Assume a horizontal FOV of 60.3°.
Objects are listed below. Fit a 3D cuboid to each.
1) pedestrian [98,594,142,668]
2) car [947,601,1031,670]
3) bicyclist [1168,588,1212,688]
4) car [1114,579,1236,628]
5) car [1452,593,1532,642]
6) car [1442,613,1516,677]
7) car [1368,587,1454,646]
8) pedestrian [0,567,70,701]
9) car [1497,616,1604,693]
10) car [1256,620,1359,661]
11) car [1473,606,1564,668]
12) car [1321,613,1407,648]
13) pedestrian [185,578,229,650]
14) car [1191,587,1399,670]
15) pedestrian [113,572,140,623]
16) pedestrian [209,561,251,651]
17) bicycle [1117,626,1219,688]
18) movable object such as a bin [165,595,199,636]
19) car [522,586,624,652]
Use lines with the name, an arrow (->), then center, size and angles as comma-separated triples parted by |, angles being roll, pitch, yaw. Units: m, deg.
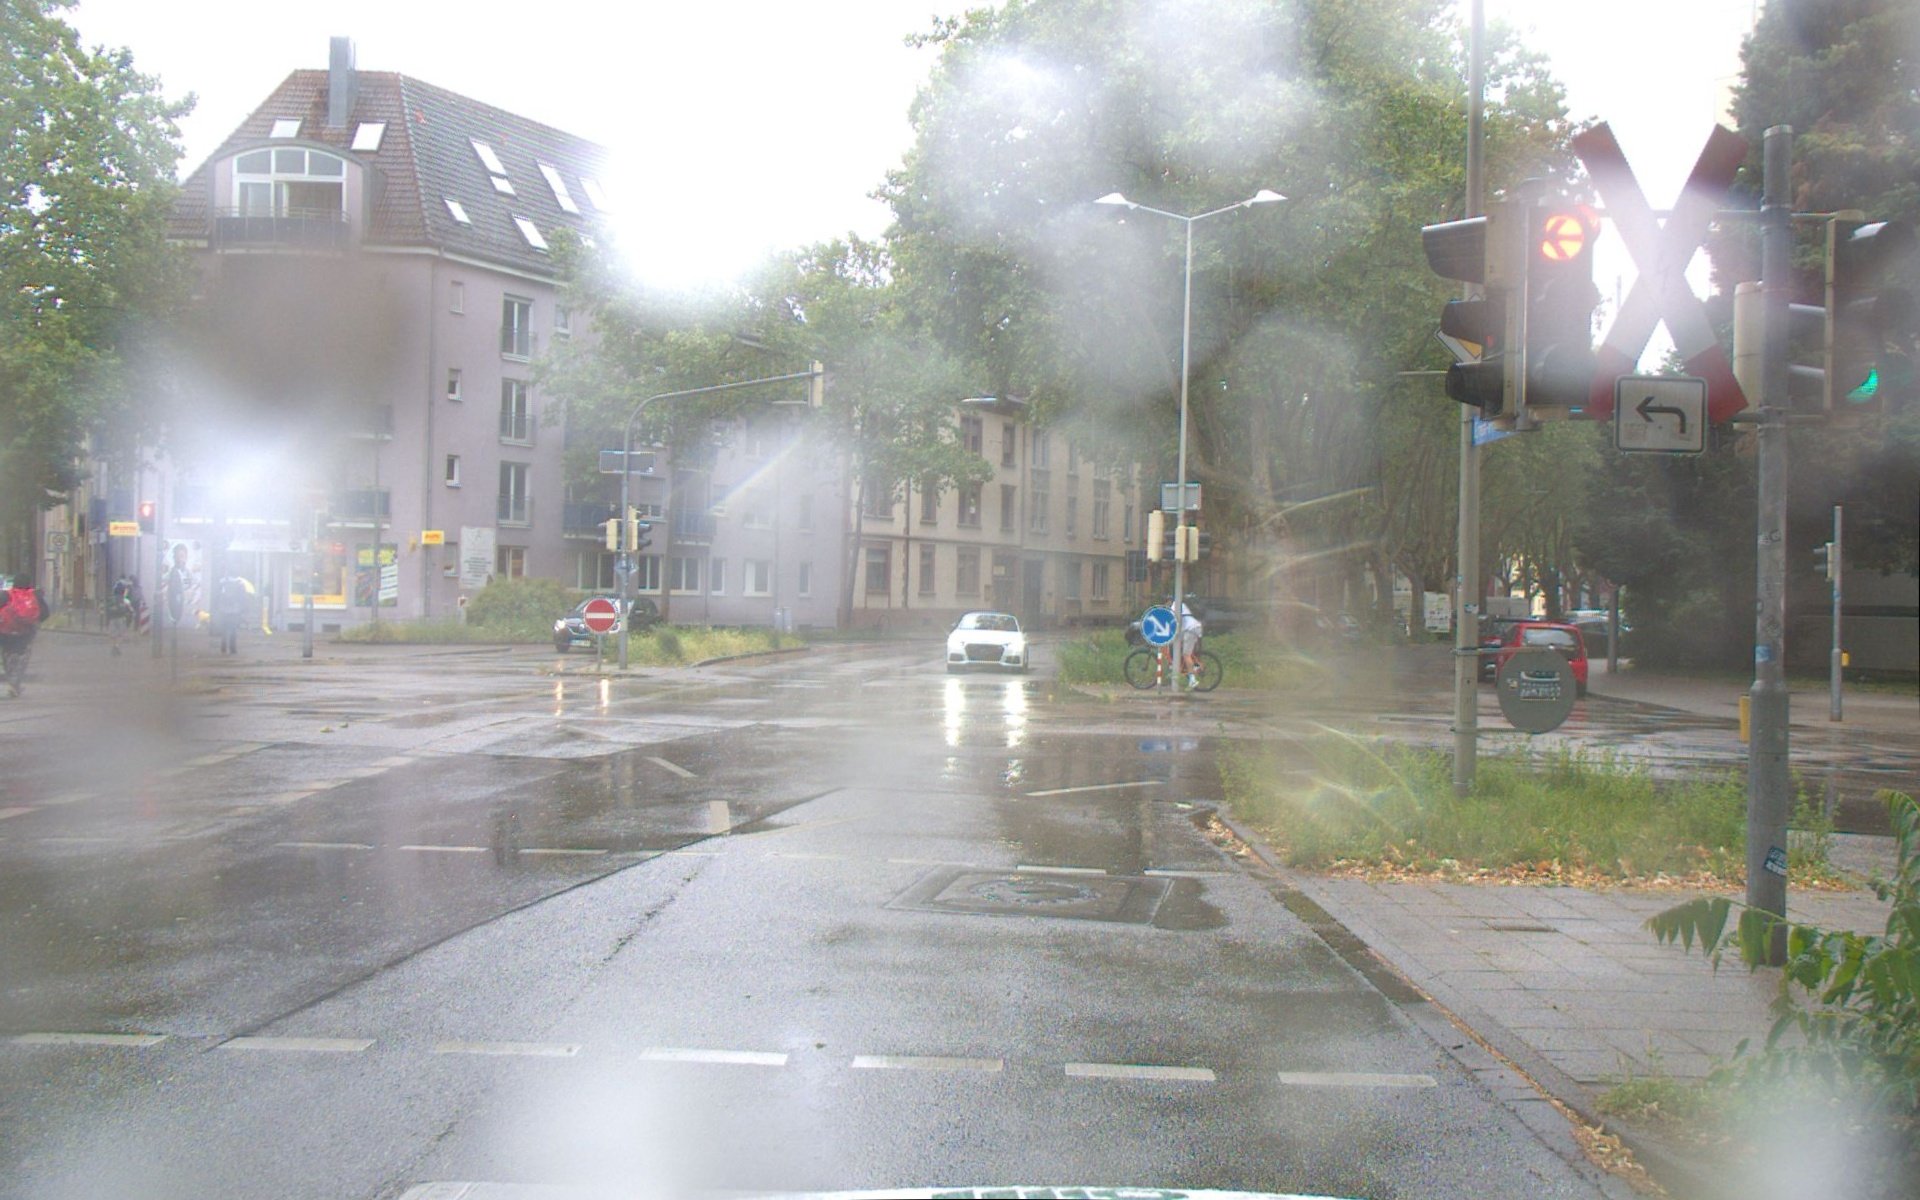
pedestrian -> -16.450, 0.606, 32.383 | 0.643, 1.420, 0.773 | 1, 0, -35
car -> 0.701, 0.800, 39.082 | 1.845, 1.461, 4.001 | 1, 0, 1
bicyclist -> 4.249, 0.696, 30.606 | 0.778, 1.817, 0.697 | 1, -1, 7
car -> 6.994, 0.107, 53.749 | 3.784, 1.512, 1.717 | 1, 0, 12
car -> 33.671, 1.098, 104.817 | 1.974, 3.000, 4.720 | 1, 0, -31
car -> 14.988, 1.258, 47.914 | 1.745, 1.757, 4.003 | 1, 0, 13
car -> 23.955, 0.858, 88.074 | 2.005, 2.999, 4.742 | 1, 0, -21
pedestrian -> -11.776, 0.419, 20.859 | 0.715, 1.653, 0.816 | 0, 1, -8
car -> 13.050, 1.165, 36.741 | 1.754, 1.524, 4.003 | 1, 0, 13
car -> 13.775, 1.592, 65.639 | 3.902, 1.512, 2.002 | 1, 0, 12
car -> 13.896, 0.881, 41.311 | 1.745, 1.371, 3.932 | 2, 1, 13
car -> 19.262, 1.450, 78.932 | 3.902, 1.574, 2.002 | 1, 0, 12
pedestrian -> -23.208, 0.437, 50.976 | 0.890, 2.188, 0.887 | 1, -1, -1
car -> 6.610, 0.543, 32.729 | 3.902, 1.512, 2.002 | 1, 0, 12
pedestrian -> -26.797, -0.070, 53.170 | 0.667, 1.628, 0.957 | 1, -1, -32
pedestrian -> -15.494, 0.133, 35.117 | 0.777, 1.888, 0.676 | 1, 0, -25
bicycle -> 3.849, 1.048, 30.651 | 1.833, 1.100, 0.657 | 1, 0, 7
movable object such as a bin -> -24.085, 0.473, 51.192 | 0.735, 1.258, 0.667 | 1, -1, -3
car -> -9.627, 0.448, 41.352 | 1.716, 1.538, 3.838 | 1, 0, -2
